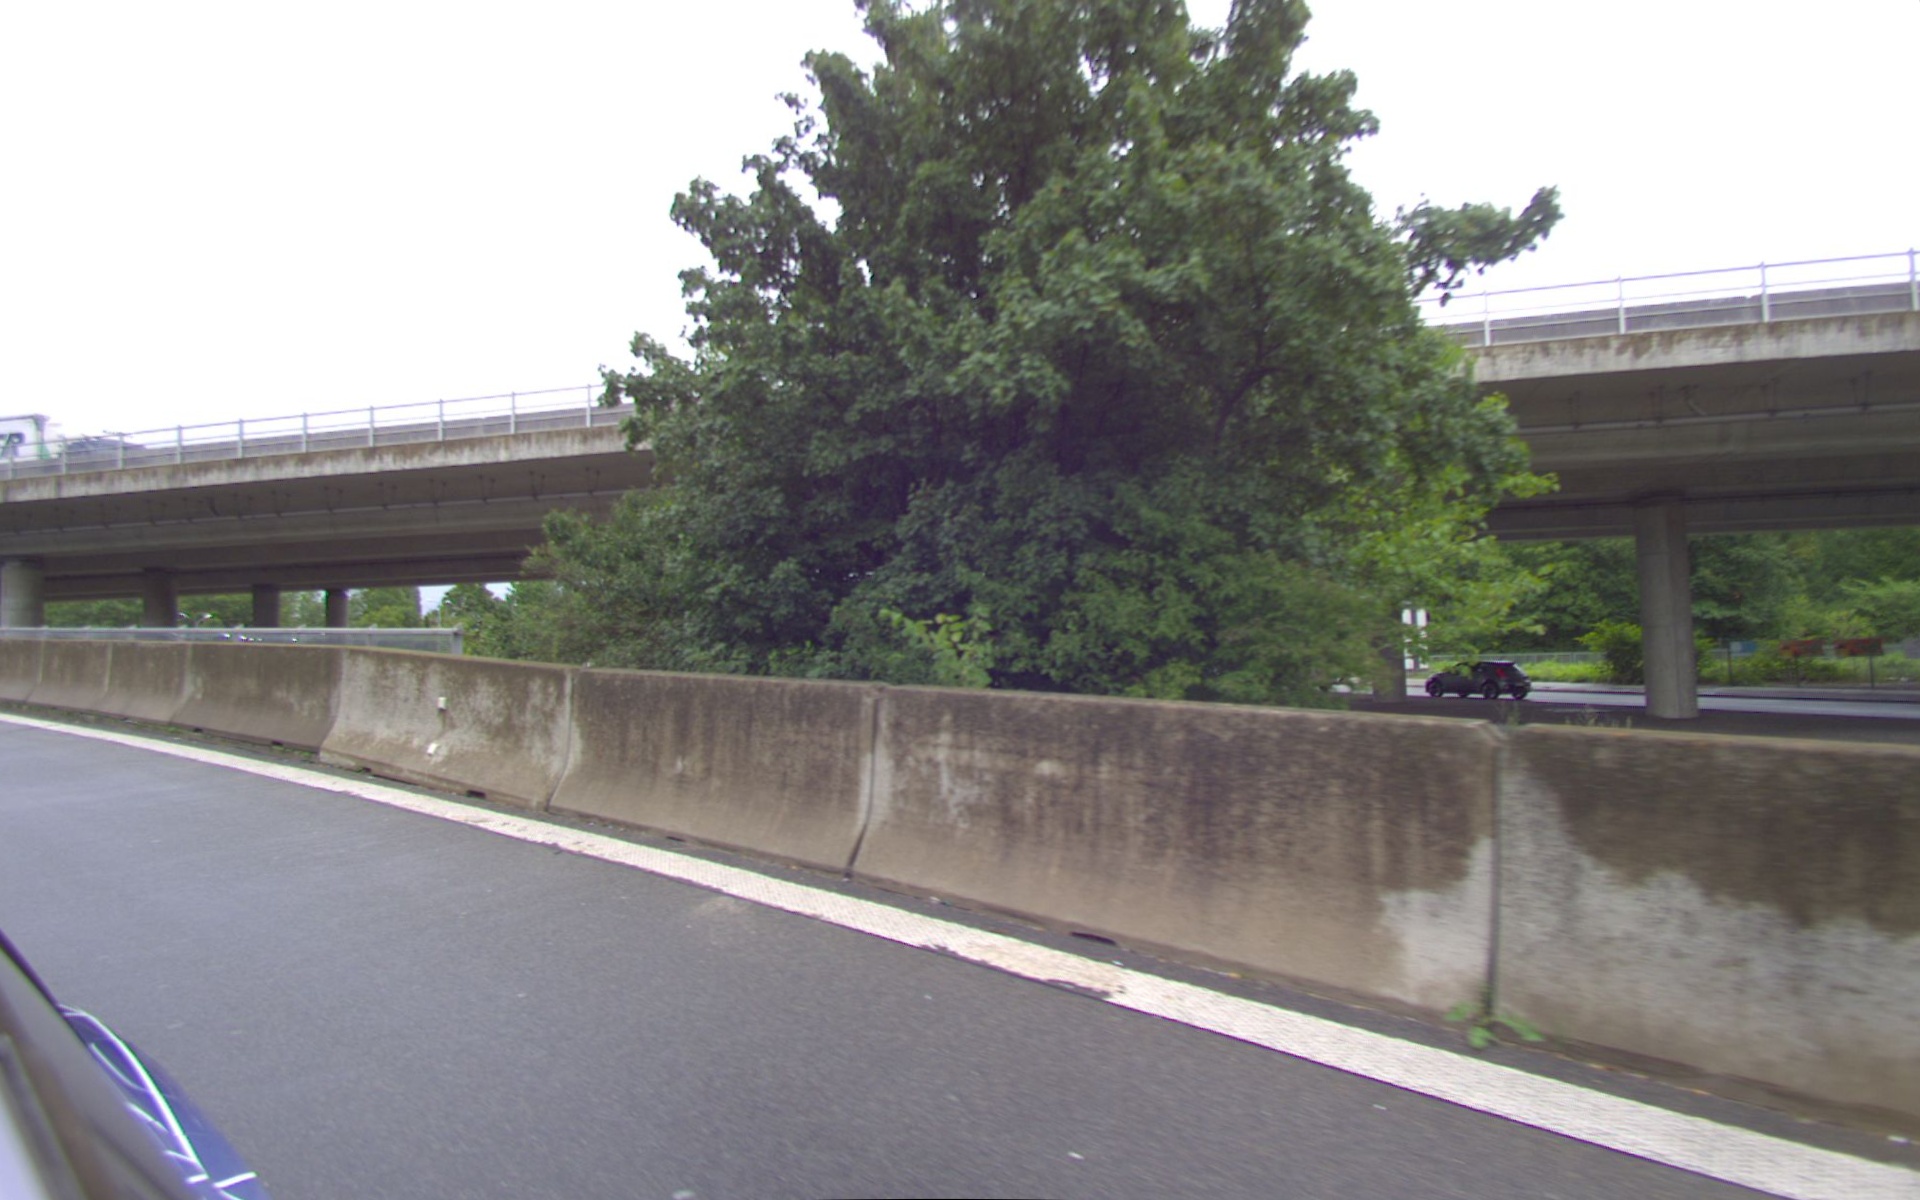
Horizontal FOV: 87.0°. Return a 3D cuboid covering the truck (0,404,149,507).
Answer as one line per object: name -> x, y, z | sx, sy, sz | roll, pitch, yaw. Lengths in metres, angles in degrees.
truck -> -35.425, -5.630, 40.166 | 5.147, 3.271, 2.584 | -3, -2, 15

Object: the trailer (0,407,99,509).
trailer -> -42.367, -5.506, 41.935 | 13.925, 3.323, 2.654 | -2, -2, 14

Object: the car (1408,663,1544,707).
car -> 20.496, 3.342, 40.414 | 1.941, 1.595, 4.606 | 2, -4, -24
